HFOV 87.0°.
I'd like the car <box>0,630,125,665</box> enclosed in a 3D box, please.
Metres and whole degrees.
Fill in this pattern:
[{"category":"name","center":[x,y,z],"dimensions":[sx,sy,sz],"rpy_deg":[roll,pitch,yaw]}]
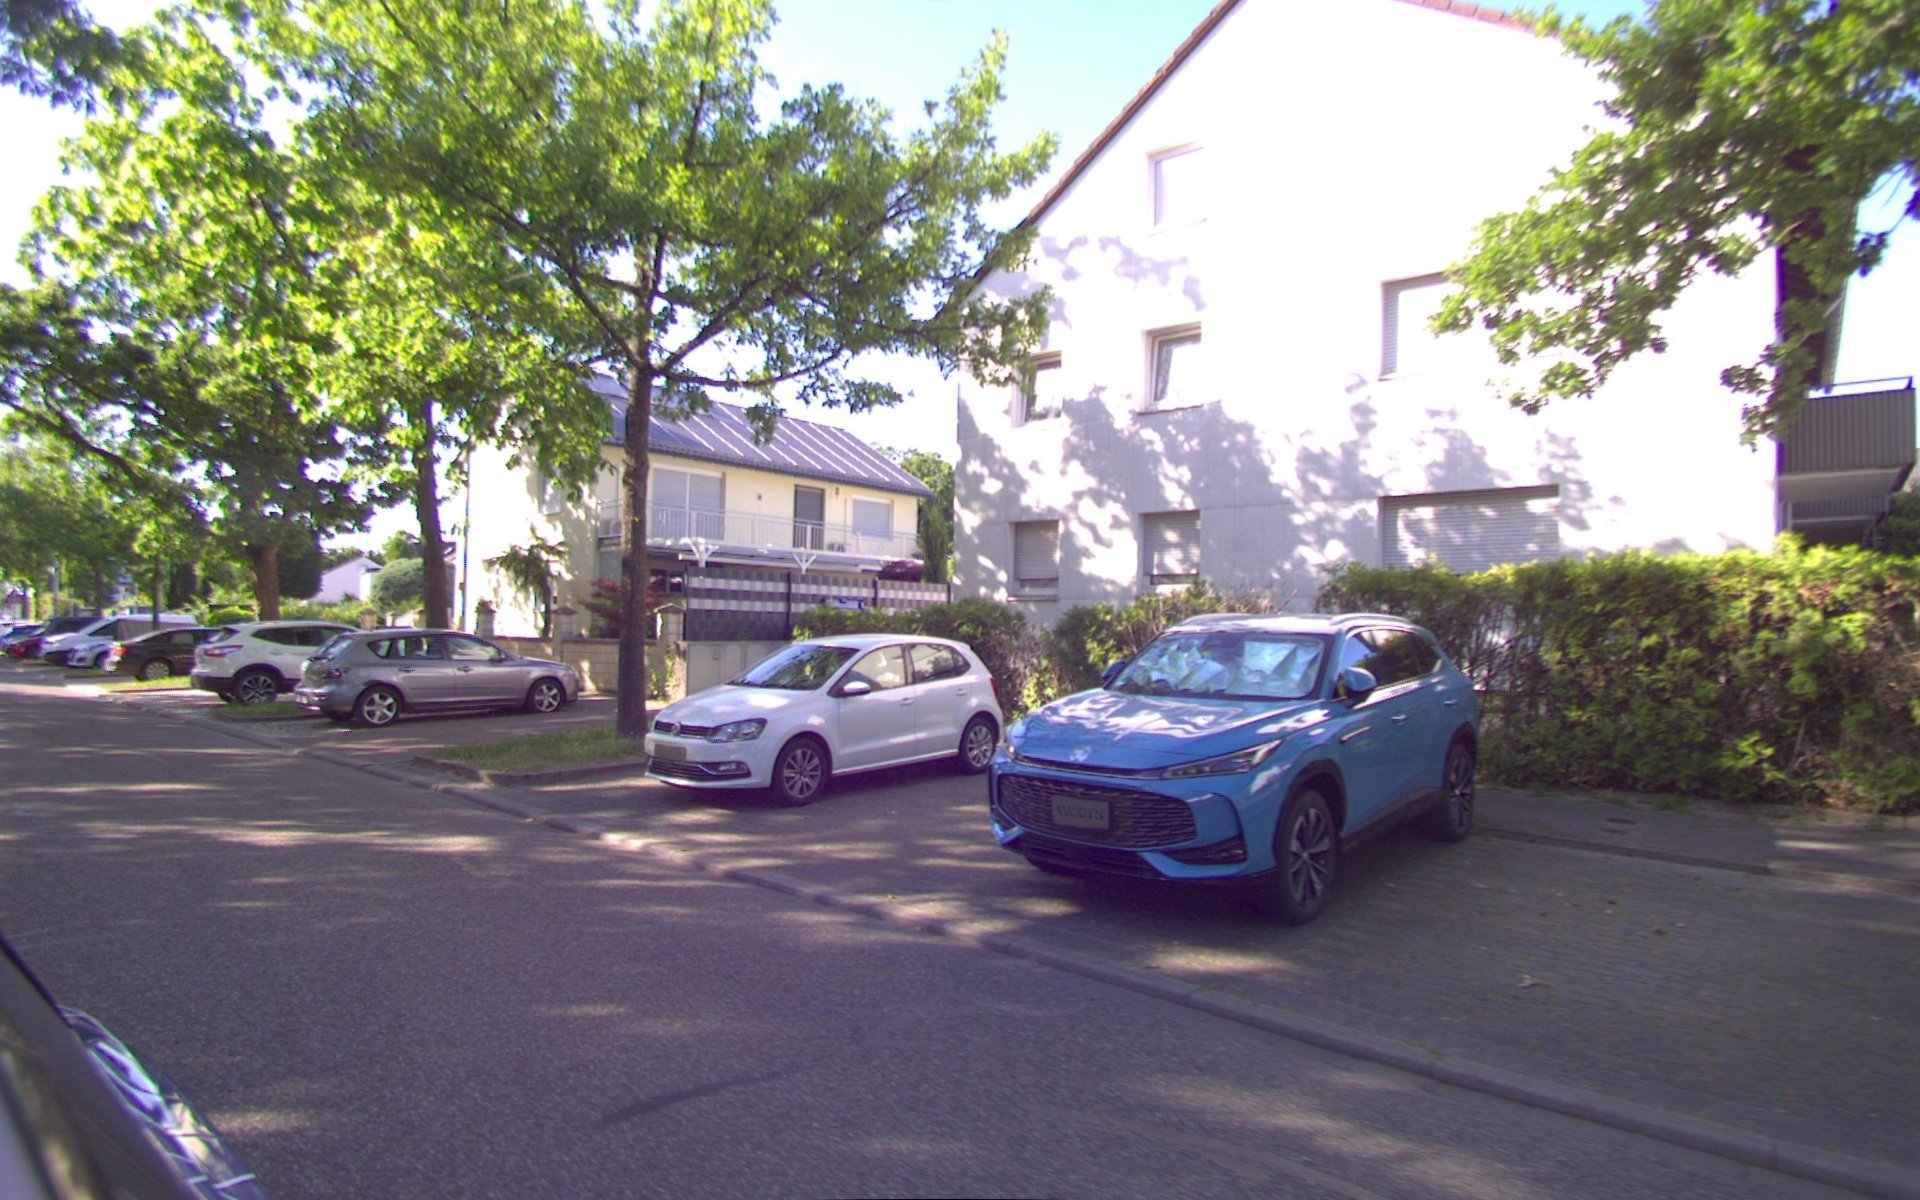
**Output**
[{"category":"car","center":[-40.710,2.119,45.811],"dimensions":[1.722,1.435,4.229],"rpy_deg":[-1,-1,39]}]

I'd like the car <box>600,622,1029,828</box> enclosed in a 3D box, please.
[{"category":"car","center":[-1.256,1.088,10.063],"dimensions":[1.857,1.608,3.945],"rpy_deg":[-1,-4,41]}]

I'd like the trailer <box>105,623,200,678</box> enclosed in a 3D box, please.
[{"category":"trailer","center":[-25.711,1.588,32.250],"dimensions":[2.209,1.686,1.475],"rpy_deg":[3,-3,-44]}]

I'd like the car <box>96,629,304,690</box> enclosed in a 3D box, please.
[{"category":"car","center":[-20.066,1.535,26.841],"dimensions":[1.691,1.483,4.163],"rpy_deg":[-1,-3,44]}]

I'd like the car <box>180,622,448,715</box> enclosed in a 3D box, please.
[{"category":"car","center":[-12.590,1.248,19.910],"dimensions":[1.792,1.579,4.141],"rpy_deg":[-2,-1,43]}]

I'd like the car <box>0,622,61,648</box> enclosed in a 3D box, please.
[{"category":"car","center":[-61.499,2.254,66.024],"dimensions":[1.919,1.586,3.916],"rpy_deg":[0,-1,37]}]

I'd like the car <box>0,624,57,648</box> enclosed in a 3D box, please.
[{"category":"car","center":[-59.999,2.295,64.492],"dimensions":[1.707,1.507,3.477],"rpy_deg":[-2,-3,41]}]

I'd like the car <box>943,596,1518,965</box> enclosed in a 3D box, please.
[{"category":"car","center":[2.113,0.797,6.835],"dimensions":[1.937,1.643,4.475],"rpy_deg":[0,0,42]}]

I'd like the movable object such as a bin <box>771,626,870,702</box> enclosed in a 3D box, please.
[{"category":"movable object such as a bin","center":[-2.822,1.269,20.507],"dimensions":[1.275,1.445,1.479],"rpy_deg":[0,-2,41]}]

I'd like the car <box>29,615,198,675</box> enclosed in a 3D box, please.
[{"category":"car","center":[-29.498,1.583,35.368],"dimensions":[1.998,1.959,4.194],"rpy_deg":[-1,-3,39]}]

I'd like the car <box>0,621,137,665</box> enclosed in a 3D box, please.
[{"category":"car","center":[-38.643,1.824,43.662],"dimensions":[1.795,1.782,4.623],"rpy_deg":[-2,-1,42]}]

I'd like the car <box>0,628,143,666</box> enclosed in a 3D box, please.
[{"category":"car","center":[-36.821,1.936,41.911],"dimensions":[1.837,1.511,4.427],"rpy_deg":[-1,-3,43]}]

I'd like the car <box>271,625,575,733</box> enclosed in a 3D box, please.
[{"category":"car","center":[-8.590,1.166,16.457],"dimensions":[1.809,1.434,3.993],"rpy_deg":[-1,0,40]}]

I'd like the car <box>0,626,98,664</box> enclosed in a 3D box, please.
[{"category":"car","center":[-44.103,2.125,48.439],"dimensions":[1.761,1.737,4.164],"rpy_deg":[-1,-1,43]}]

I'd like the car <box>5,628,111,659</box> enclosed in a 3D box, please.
[{"category":"car","center":[-46.534,2.271,52.263],"dimensions":[1.796,1.526,3.956],"rpy_deg":[-2,-4,44]}]

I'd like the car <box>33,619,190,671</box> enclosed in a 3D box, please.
[{"category":"car","center":[-31.417,1.606,37.566],"dimensions":[1.966,1.783,4.196],"rpy_deg":[-1,-1,39]}]

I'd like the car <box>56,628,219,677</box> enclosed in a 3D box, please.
[{"category":"car","center":[-27.389,1.730,33.797],"dimensions":[1.689,1.528,3.948],"rpy_deg":[-1,-3,39]}]
